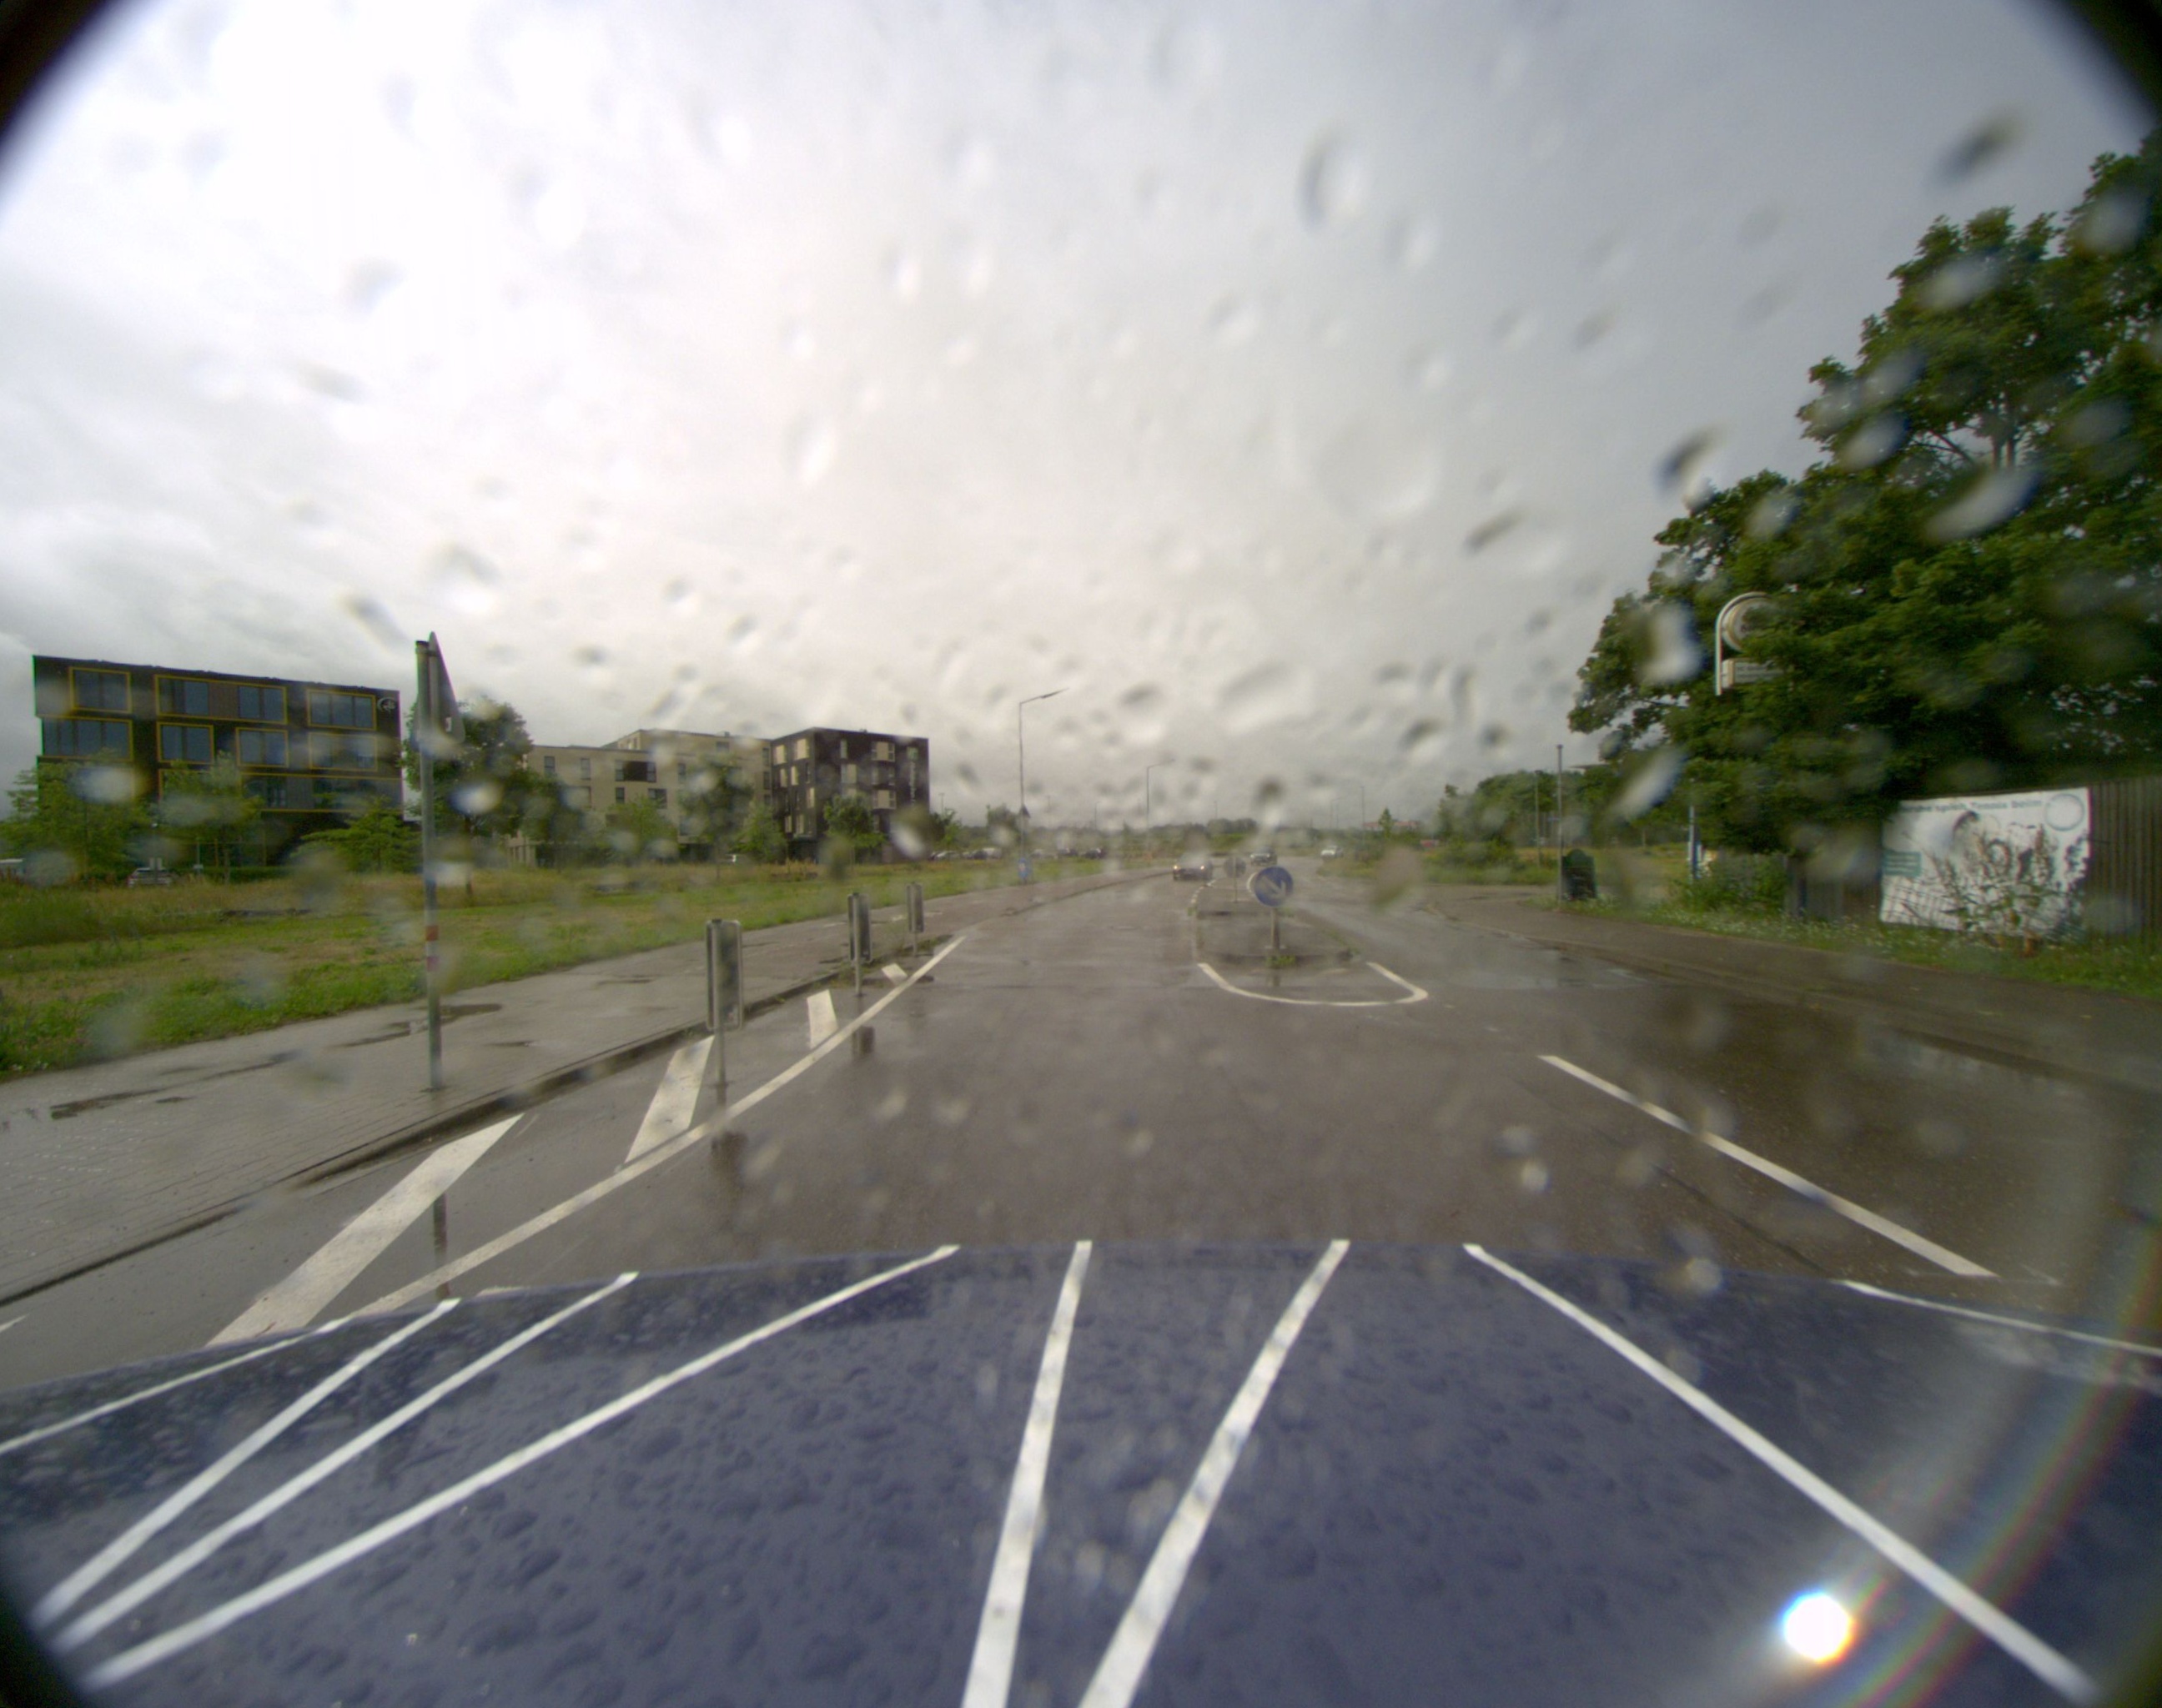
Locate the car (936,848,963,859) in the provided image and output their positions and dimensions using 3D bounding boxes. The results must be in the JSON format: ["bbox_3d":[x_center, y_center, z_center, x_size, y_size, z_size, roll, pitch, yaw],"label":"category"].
[{"bbox_3d":[-19.870,-0.109,114.523,3.656,1.602,1.596,-2,1,-37],"label":"car"}]

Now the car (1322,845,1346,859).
[{"bbox_3d":[32.670,-0.284,98.176,1.793,1.624,3.825,-1,1,36],"label":"car"}]

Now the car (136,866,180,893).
[{"bbox_3d":[-58.059,1.604,47.781,3.658,1.574,1.652,-1,1,38],"label":"car"}]

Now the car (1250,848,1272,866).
[{"bbox_3d":[17.228,0.262,72.465,1.645,1.624,3.673,-1,1,19],"label":"car"}]

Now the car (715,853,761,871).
[{"bbox_3d":[-32.338,0.697,71.672,1.644,1.574,3.674,-1,1,27],"label":"car"}]

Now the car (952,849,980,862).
[{"bbox_3d":[-16.364,0.220,108.122,3.656,1.652,1.646,-2,1,-33],"label":"car"}]

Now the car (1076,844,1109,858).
[{"bbox_3d":[1.452,-0.327,94.446,3.807,1.624,1.802,-1,1,43],"label":"car"}]

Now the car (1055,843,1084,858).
[{"bbox_3d":[-1.762,-0.499,111.771,2.004,2.002,3.989,-2,1,-44],"label":"car"}]

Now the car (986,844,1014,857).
[{"bbox_3d":[-13.165,-0.534,123.319,4.007,2.002,1.994,-2,1,-40],"label":"car"}]

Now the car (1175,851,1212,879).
[{"bbox_3d":[6.231,0.561,41.792,1.722,1.423,3.821,-1,1,12],"label":"car"}]
